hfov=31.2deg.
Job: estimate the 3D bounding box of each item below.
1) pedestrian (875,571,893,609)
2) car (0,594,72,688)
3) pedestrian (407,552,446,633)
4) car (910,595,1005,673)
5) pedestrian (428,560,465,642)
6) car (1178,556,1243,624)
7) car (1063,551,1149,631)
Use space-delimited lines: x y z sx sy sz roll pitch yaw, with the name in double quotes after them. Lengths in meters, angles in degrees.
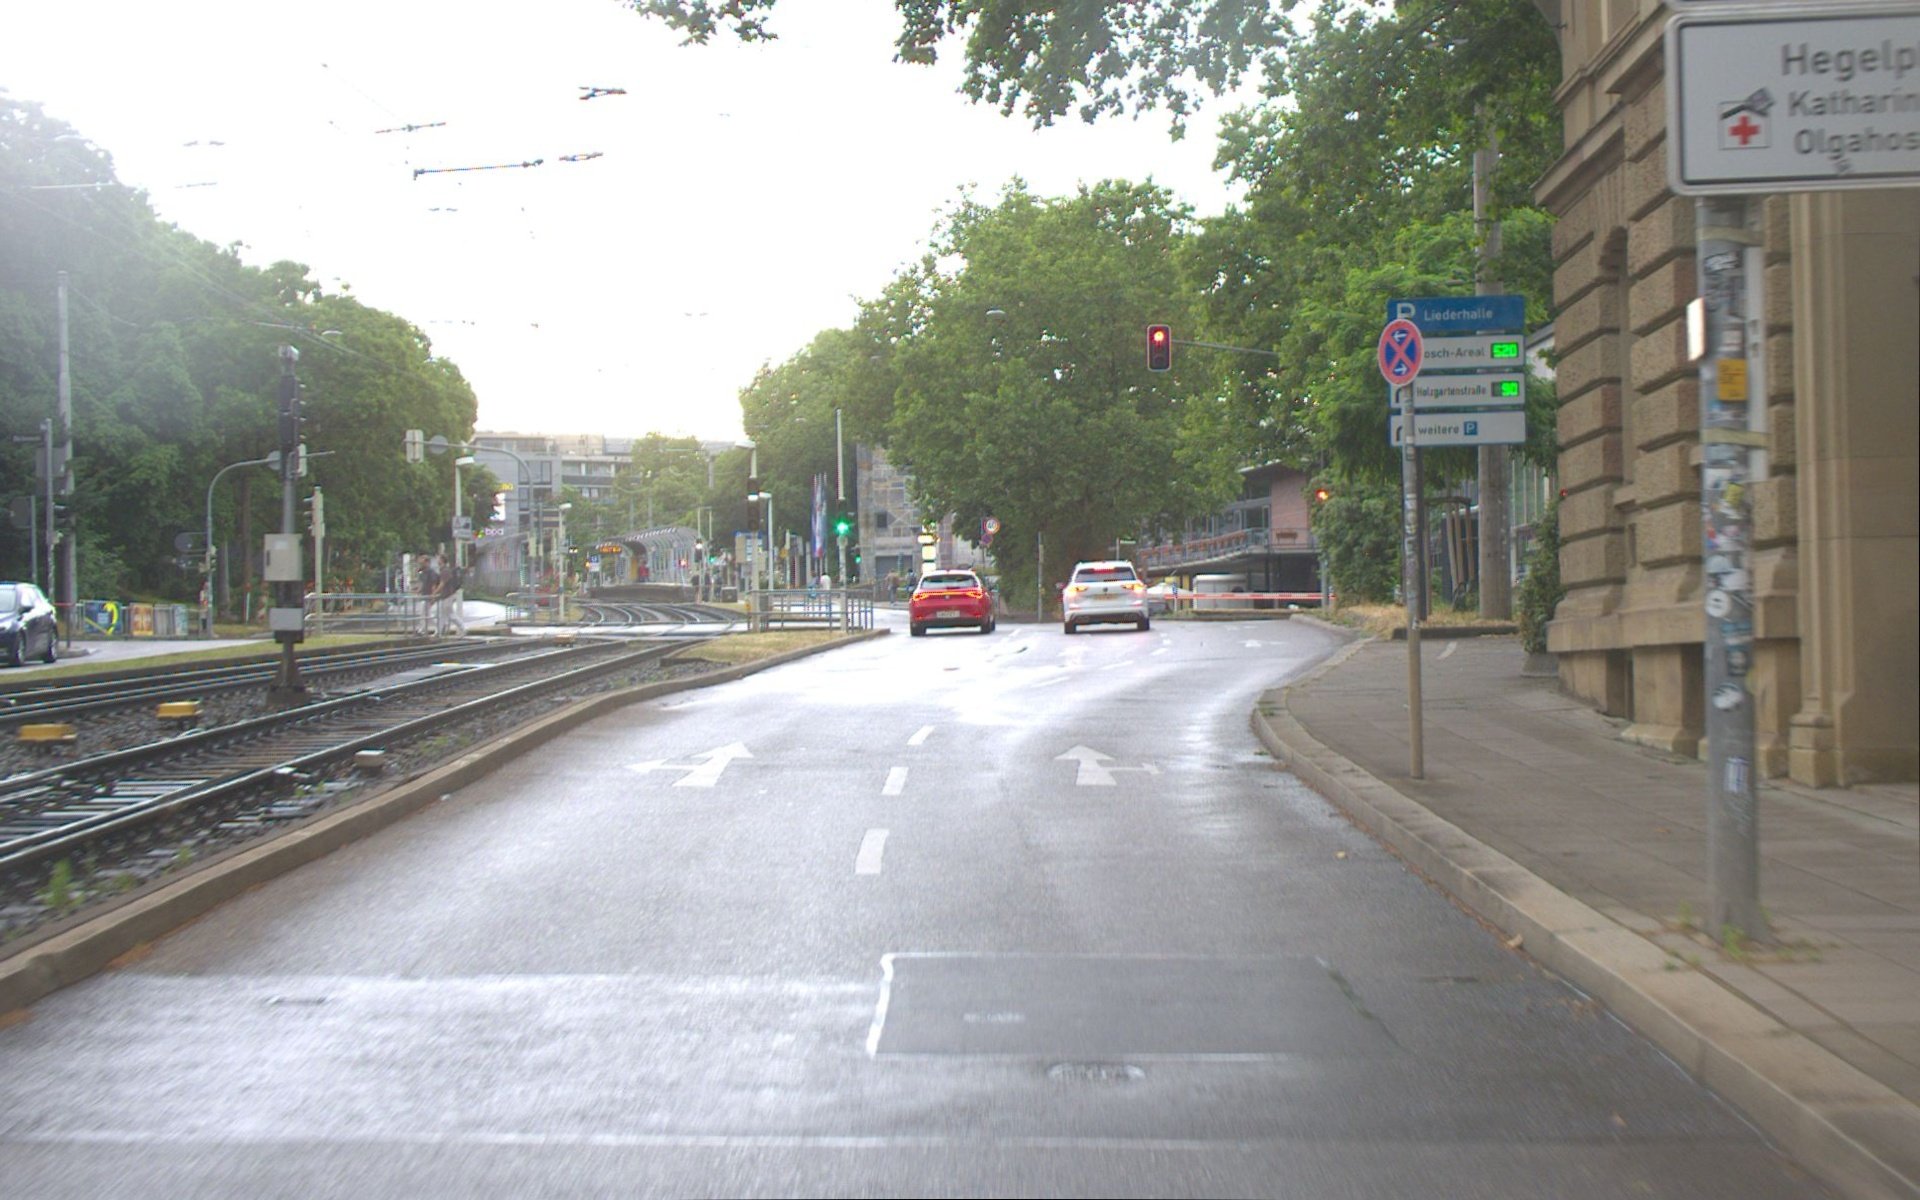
-3.633 -0.477 164.736 0.756 1.817 0.701 1 -1 -9 "pedestrian"
-17.057 0.712 60.430 1.993 1.577 4.550 1 -1 -4 "car"
-11.837 -0.166 76.216 0.639 1.782 0.811 1 -1 -25 "pedestrian"
-0.018 0.747 75.318 1.980 1.634 4.416 1 -1 1 "car"
-11.280 0.024 75.495 0.638 1.782 0.811 1 -1 -20 "pedestrian"
11.761 -0.449 161.842 2.544 3.123 5.031 1 -1 -2 "car"
3.066 -0.196 71.536 1.679 1.571 4.252 -2 0 3 "car"
